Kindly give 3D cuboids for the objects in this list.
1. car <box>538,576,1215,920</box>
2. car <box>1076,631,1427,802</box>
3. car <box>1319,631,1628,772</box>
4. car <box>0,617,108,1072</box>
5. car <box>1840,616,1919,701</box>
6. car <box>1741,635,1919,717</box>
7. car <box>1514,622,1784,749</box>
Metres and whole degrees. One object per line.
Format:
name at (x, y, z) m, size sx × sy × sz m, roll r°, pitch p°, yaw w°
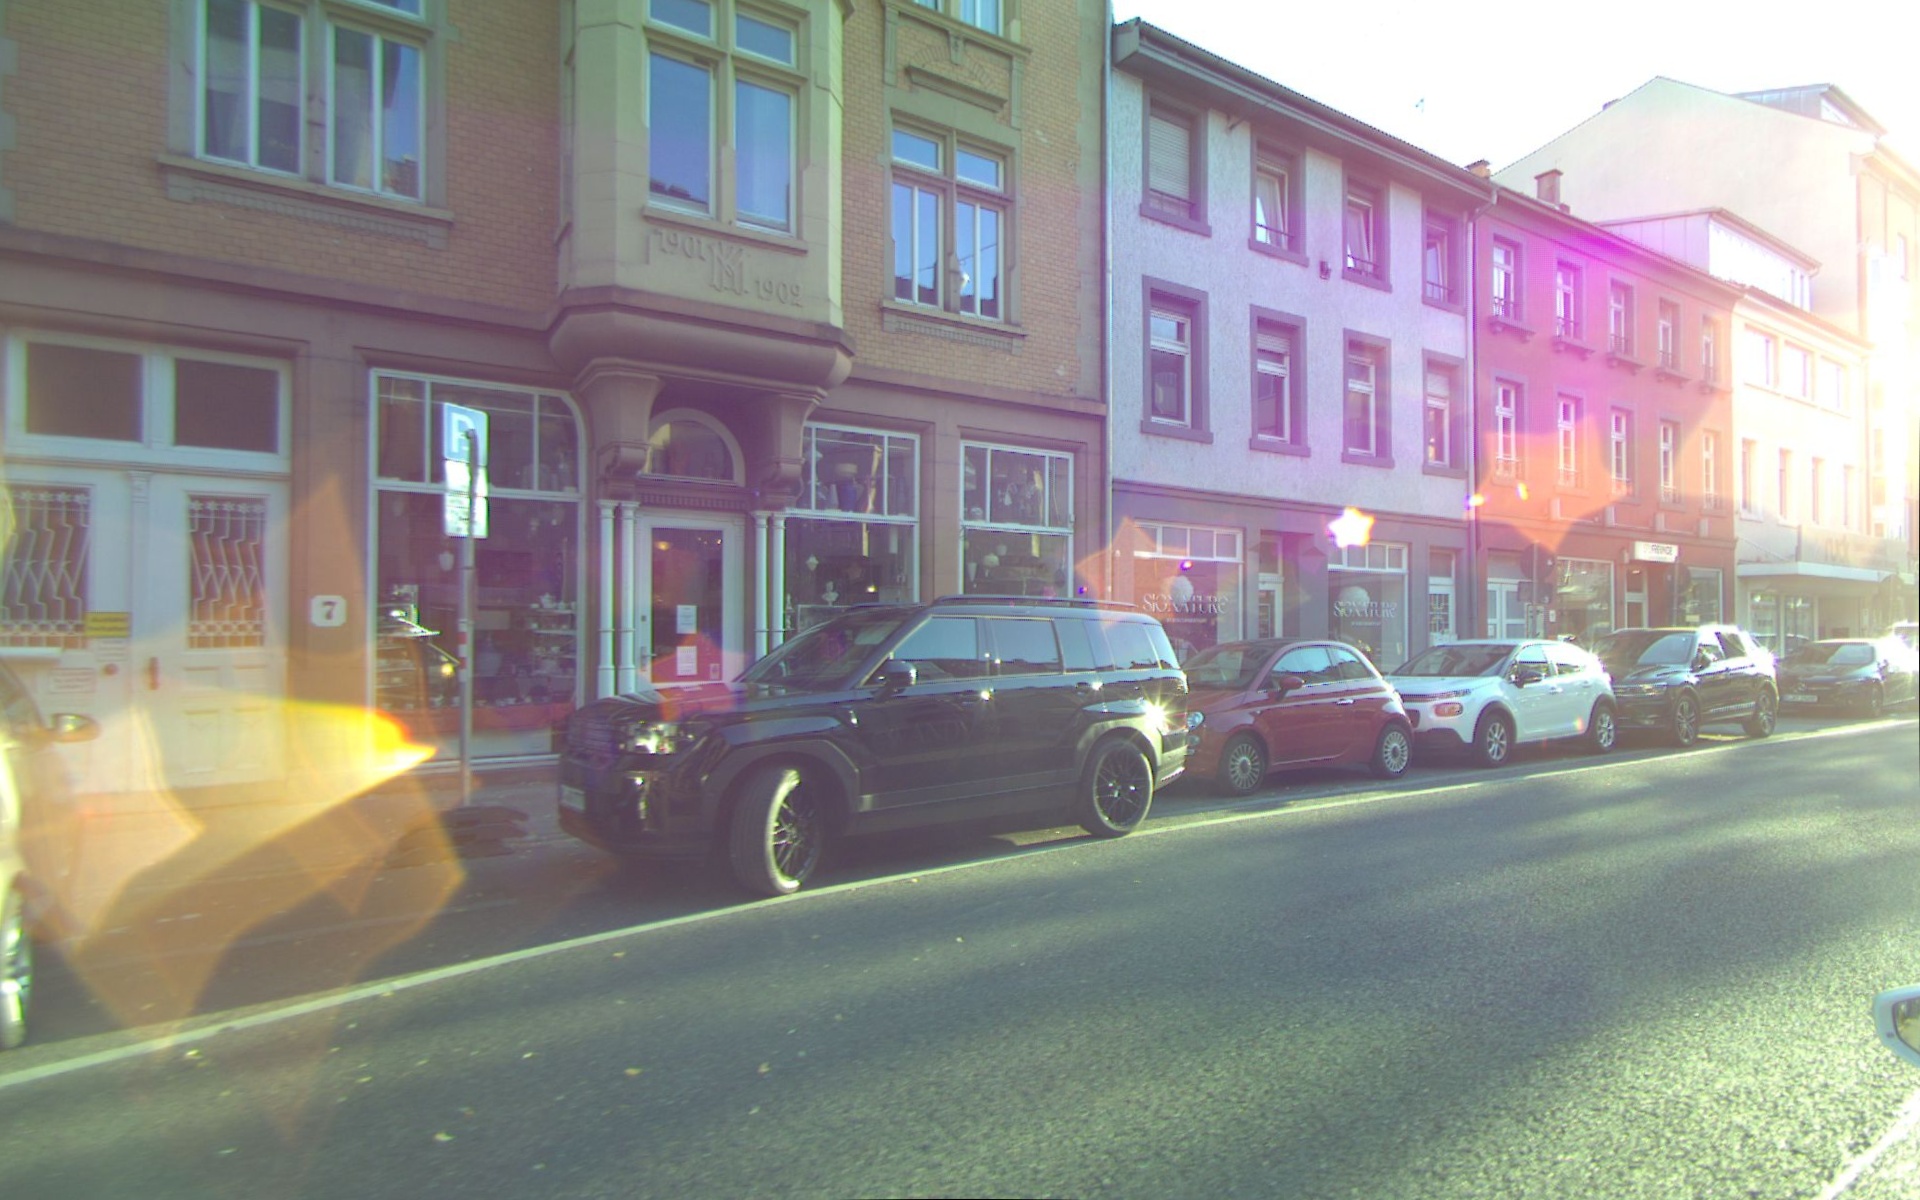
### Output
car at (-0.388, 0.843, 7.331) m, size 4.659 × 1.751 × 1.890 m, roll 2°, pitch -3°, yaw -38°
car at (3.149, 1.123, 10.758) m, size 3.446 × 1.534 × 1.765 m, roll 1°, pitch -3°, yaw -32°
car at (6.620, 1.191, 12.871) m, size 3.906 × 1.535 × 1.765 m, roll 1°, pitch -3°, yaw -32°
car at (-4.644, 0.899, 4.077) m, size 1.556 × 1.540 × 2.677 m, roll 0°, pitch -3°, yaw -35°
car at (22.668, 1.317, 23.549) m, size 5.294 × 1.834 × 1.816 m, roll 1°, pitch -3°, yaw -35°
car at (17.495, 1.451, 20.016) m, size 4.262 × 1.459 × 1.704 m, roll 1°, pitch -3°, yaw -33°
car at (10.314, 1.187, 14.971) m, size 4.191 × 1.654 × 1.765 m, roll 1°, pitch -3°, yaw -32°
